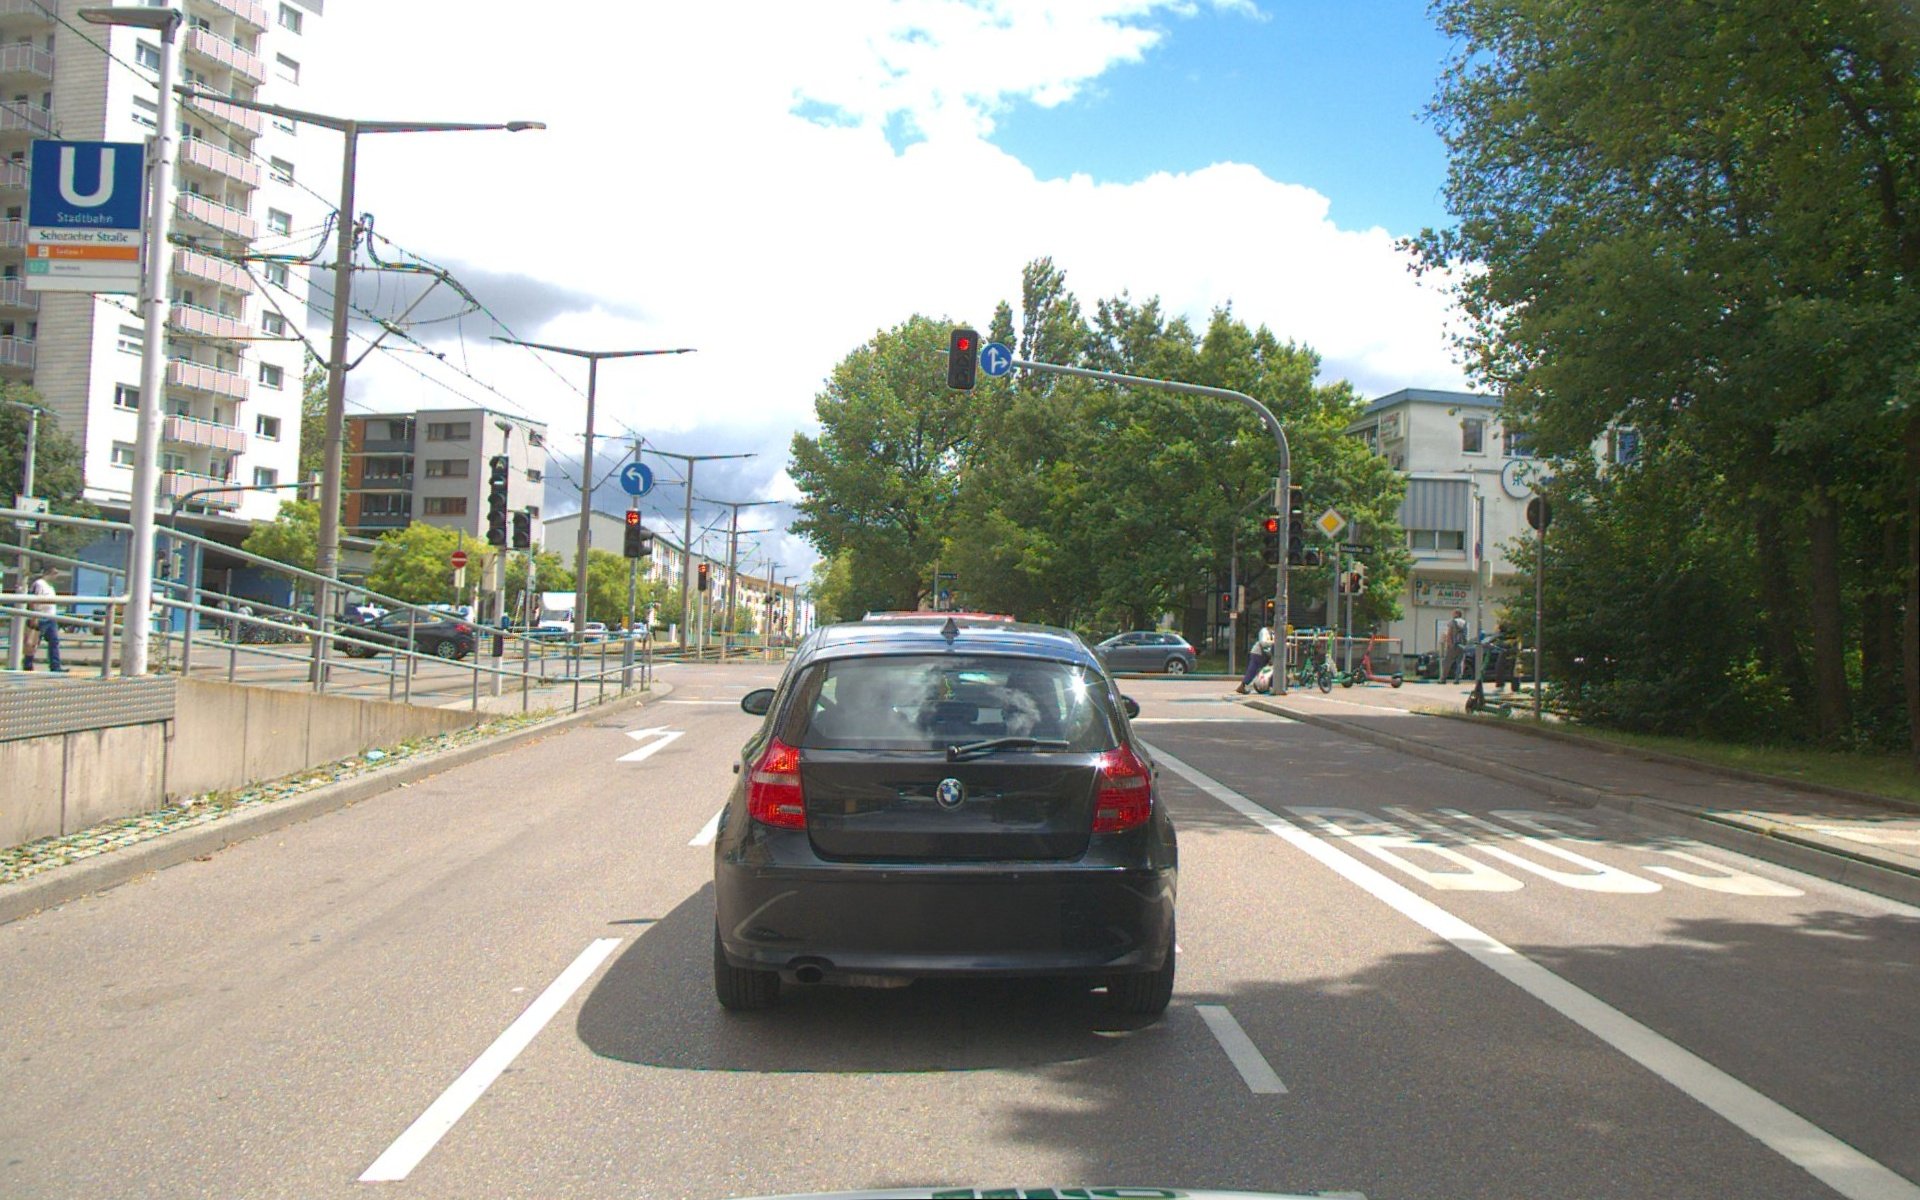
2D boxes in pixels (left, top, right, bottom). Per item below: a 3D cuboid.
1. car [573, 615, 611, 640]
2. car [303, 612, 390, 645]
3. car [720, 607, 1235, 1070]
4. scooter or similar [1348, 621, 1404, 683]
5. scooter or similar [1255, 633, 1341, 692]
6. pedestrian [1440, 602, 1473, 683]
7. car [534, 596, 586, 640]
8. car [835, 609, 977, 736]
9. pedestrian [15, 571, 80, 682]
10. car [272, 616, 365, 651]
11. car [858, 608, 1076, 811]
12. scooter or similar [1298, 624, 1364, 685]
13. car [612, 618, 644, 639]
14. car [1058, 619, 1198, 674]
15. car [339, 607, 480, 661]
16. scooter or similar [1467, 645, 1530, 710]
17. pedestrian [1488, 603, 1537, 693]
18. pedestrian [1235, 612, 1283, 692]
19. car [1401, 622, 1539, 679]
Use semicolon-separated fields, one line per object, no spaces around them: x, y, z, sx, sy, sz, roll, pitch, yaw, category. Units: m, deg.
-25.921;1.924;116.739;1.927;1.624;3.997;1;0;-3;car
-28.807;1.347;77.732;3.537;1.488;1.613;1;0;-9;car
0.087;0.764;7.025;1.620;1.443;3.517;1;0;1;car
8.618;1.072;34.235;1.087;1.280;0.331;1;-1;-13;scooter or similar
6.300;1.152;30.797;1.763;1.069;0.406;1;0;-32;scooter or similar
11.461;0.985;38.192;0.600;1.821;0.569;4;-1;18;pedestrian
-25.025;1.118;103.665;2.096;2.686;5.356;1;0;-2;car
-0.694;0.850;20.895;1.621;1.443;3.515;1;0;-2;car
-14.466;0.419;26.208;0.849;1.726;0.682;1;-1;-31;pedestrian
-28.411;1.474;73.349;3.537;1.488;1.613;1;0;-9;car
0.052;0.807;13.789;1.562;1.443;3.516;1;0;0;car
7.475;1.098;33.345;1.267;1.210;0.383;1;-1;-17;scooter or similar
-27.556;2.332;137.357;1.927;1.624;3.997;1;0;-3;car
5.050;1.392;49.858;3.913;1.553;1.672;1;0;-9;car
-15.579;0.952;46.950;3.537;1.488;1.613;1;0;-9;car
9.457;1.366;29.043;1.133;1.118;0.329;1;-1;-25;scooter or similar
11.657;1.015;34.893;0.746;1.821;0.567;4;-1;34;pedestrian
5.600;0.965;31.006;0.846;1.468;0.799;1;-1;9;pedestrian
15.003;1.479;48.717;3.515;1.629;1.706;1;-1;-13;car
